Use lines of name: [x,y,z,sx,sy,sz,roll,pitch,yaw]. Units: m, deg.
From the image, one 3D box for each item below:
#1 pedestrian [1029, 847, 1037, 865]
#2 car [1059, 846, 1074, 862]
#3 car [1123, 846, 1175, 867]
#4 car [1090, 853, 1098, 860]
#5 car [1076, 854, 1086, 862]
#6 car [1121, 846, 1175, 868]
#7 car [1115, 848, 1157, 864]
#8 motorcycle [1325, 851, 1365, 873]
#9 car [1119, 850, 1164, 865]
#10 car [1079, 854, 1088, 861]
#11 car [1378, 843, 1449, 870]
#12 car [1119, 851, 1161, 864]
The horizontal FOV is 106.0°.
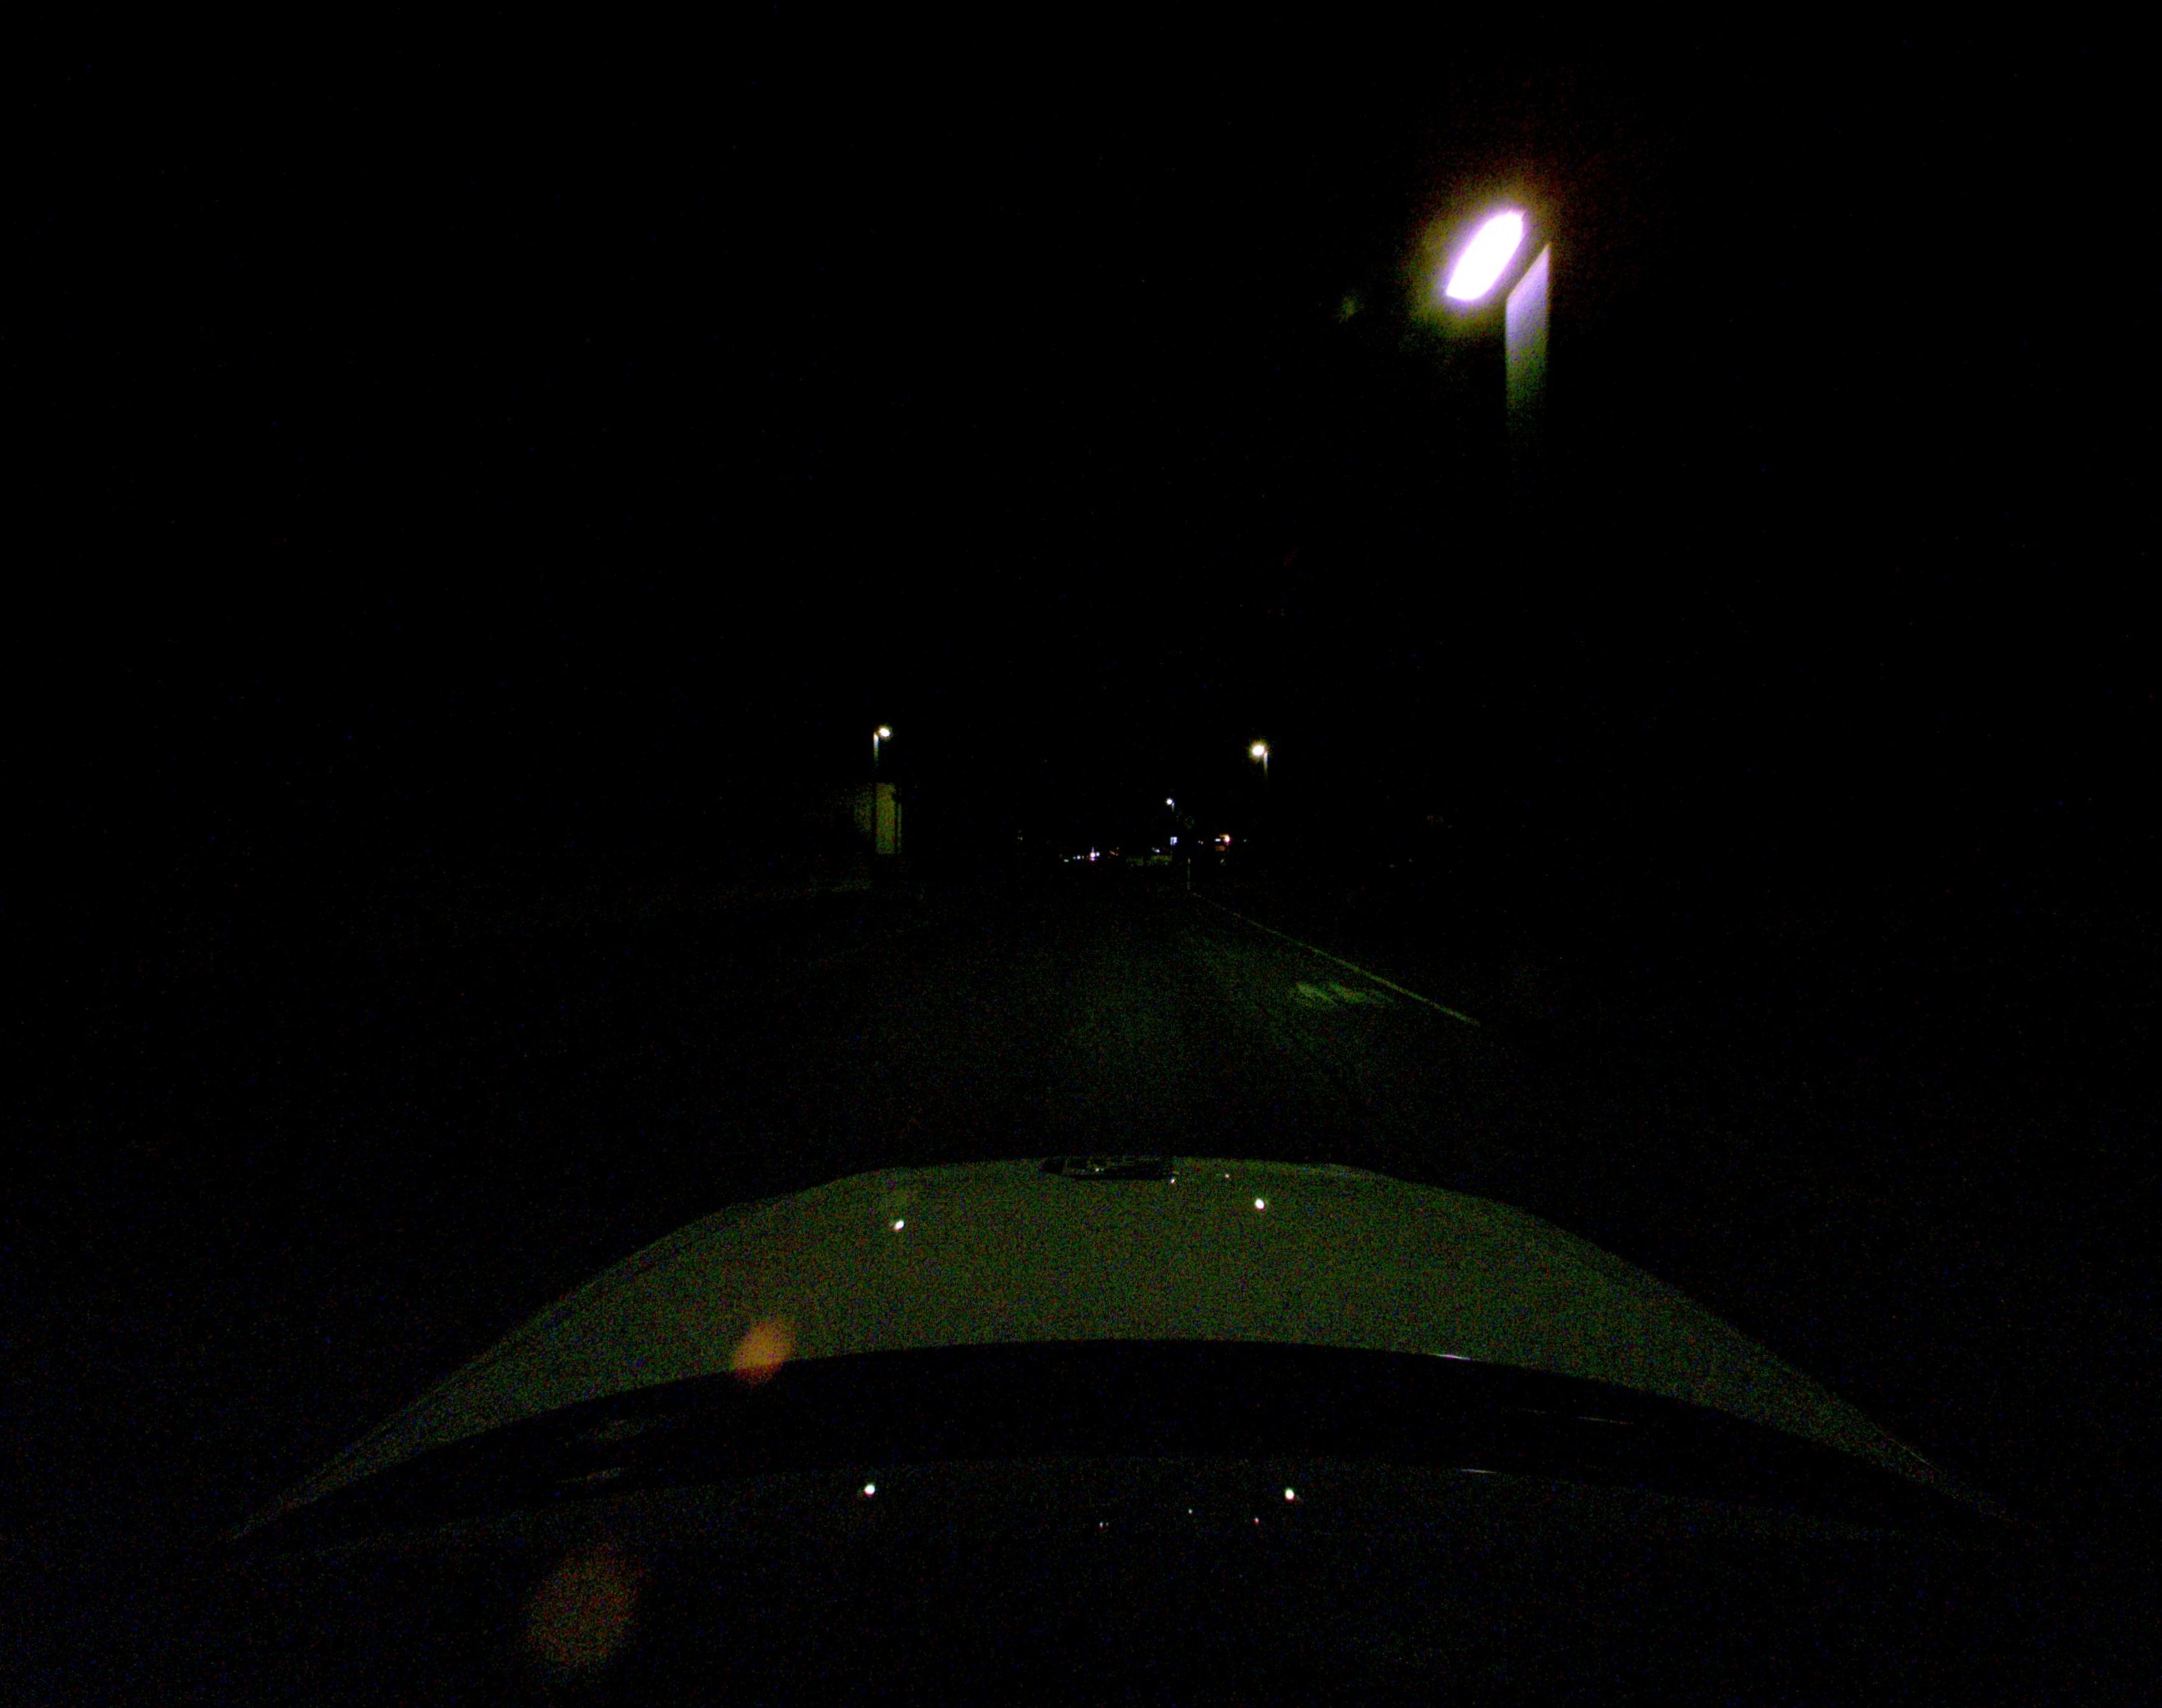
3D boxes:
pedestrian: [-5.365,0.189,91.284,0.782,2.013,1.204,1,0,1]
car: [-1.834,-0.046,104.467,1.819,1.986,4.465,2,0,0]
car: [6.948,0.231,83.709,5.166,2.013,2.101,-2,0,0]
car: [3.080,0.553,195.179,1.921,1.648,3.821,-1,0,0]
car: [-0.046,0.603,137.024,1.677,1.331,3.599,0,0,0]
car: [6.594,0.272,80.649,5.166,2.013,2.101,-2,0,0]
car: [7.156,0.217,105.315,5.149,1.887,2.108,-2,0,10]
motorcycle: [15.975,0.471,49.315,2.262,1.214,0.708,-2,0,-15]
car: [7.163,0.394,97.183,5.166,1.594,2.101,-2,0,0]
car: [0.532,0.579,153.560,1.677,1.331,3.599,0,0,0]
car: [20.318,0.155,49.787,3.625,1.479,1.855,-2,0,-14]
car: [7.399,0.462,102.697,5.166,1.469,2.101,-2,0,0]
